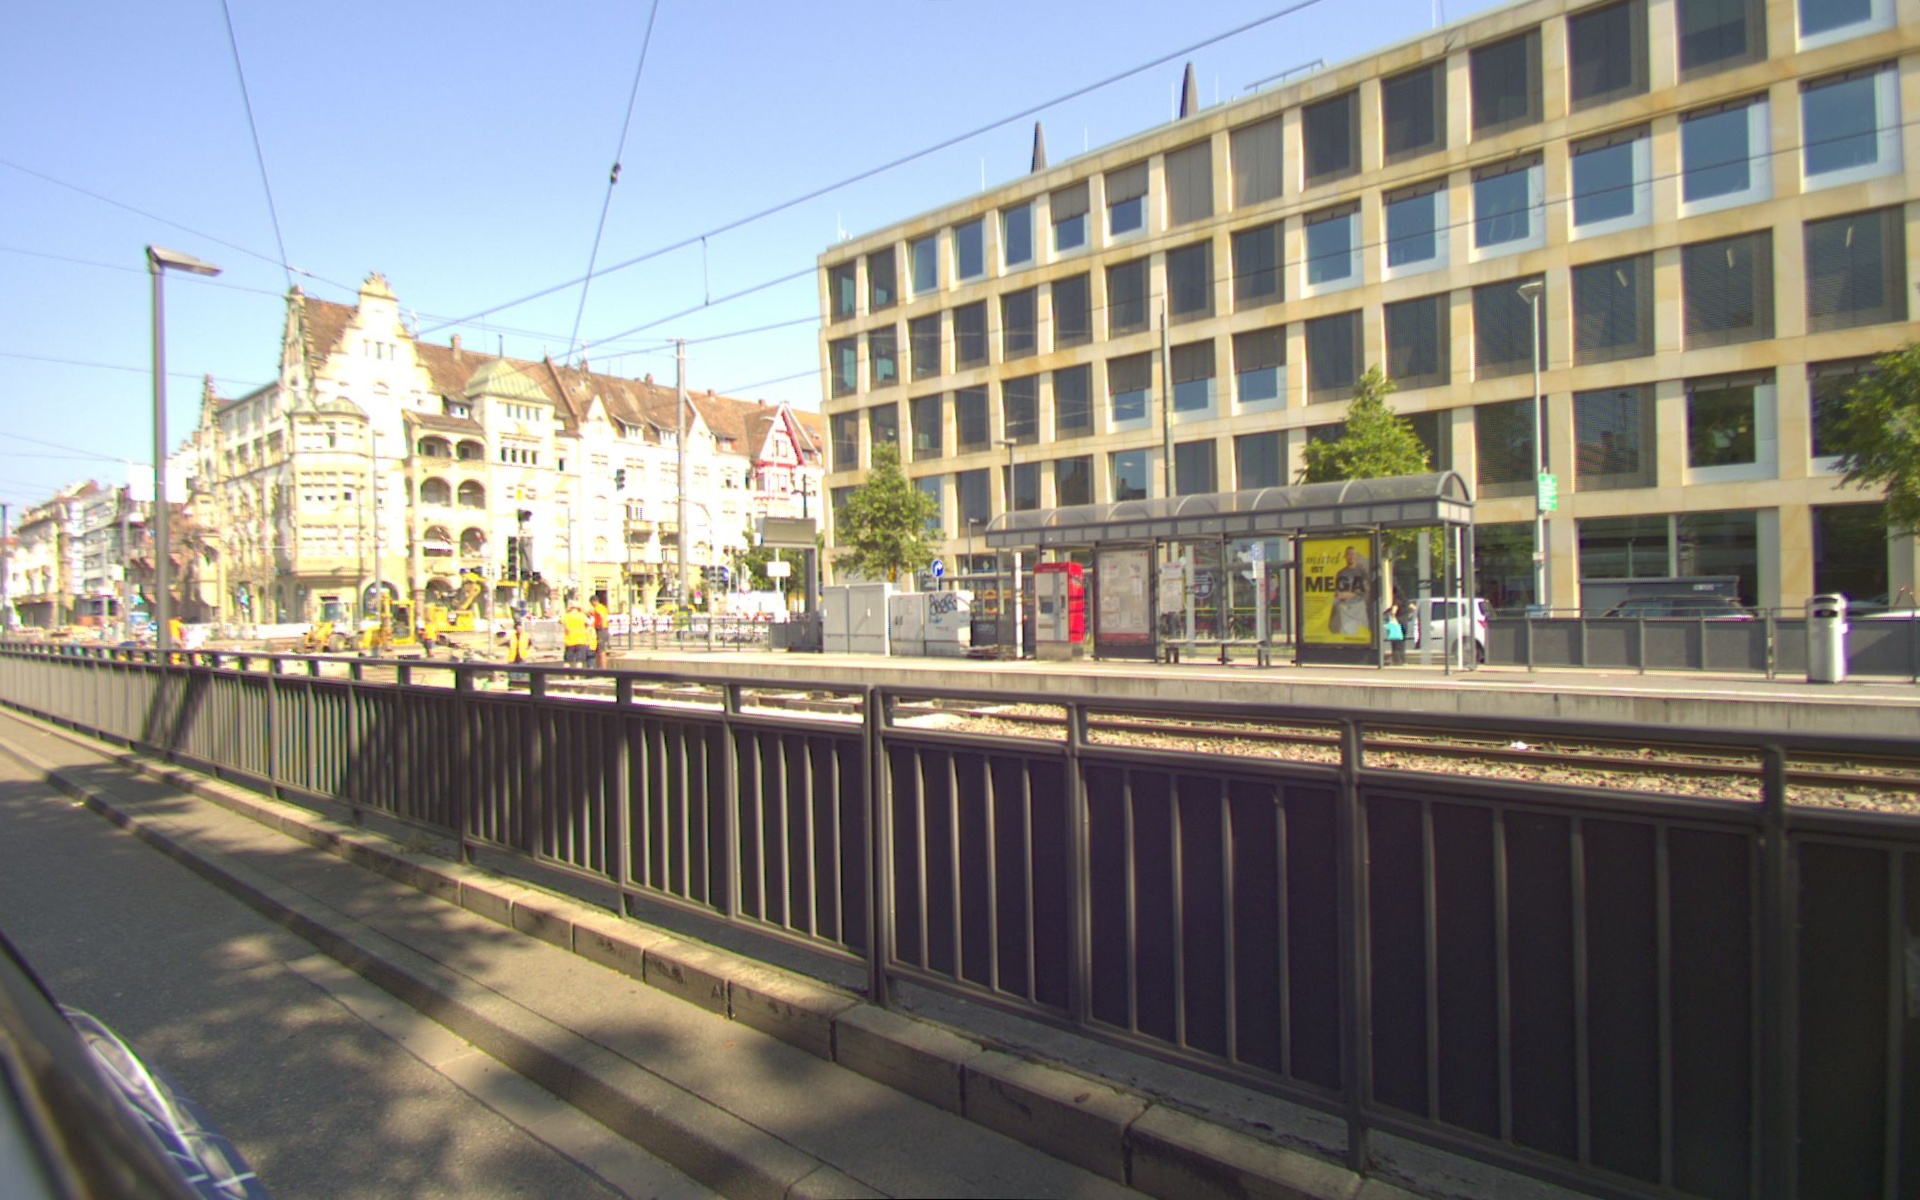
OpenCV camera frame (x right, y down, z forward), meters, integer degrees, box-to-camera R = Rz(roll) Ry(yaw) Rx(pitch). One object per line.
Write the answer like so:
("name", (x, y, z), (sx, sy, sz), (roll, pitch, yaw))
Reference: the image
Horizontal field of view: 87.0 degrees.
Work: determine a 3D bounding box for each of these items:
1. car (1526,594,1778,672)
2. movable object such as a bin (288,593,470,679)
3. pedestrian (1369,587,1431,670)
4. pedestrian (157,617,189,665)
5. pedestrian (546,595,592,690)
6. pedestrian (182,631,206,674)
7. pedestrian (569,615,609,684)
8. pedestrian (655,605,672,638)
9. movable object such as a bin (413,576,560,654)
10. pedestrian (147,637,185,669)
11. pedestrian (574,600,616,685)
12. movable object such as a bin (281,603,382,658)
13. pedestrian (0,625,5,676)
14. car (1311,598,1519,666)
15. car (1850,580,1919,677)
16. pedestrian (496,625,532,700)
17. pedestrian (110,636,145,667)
("car", (13.788, 0.651, 20.273), (3.996, 1.414, 1.883), (-2, -1, 39))
("movable object such as a bin", (-23.164, 1.287, 40.122), (8.470, 2.980, 3.577), (0, 1, 40))
("pedestrian", (9.292, 0.594, 21.365), (0.826, 1.689, 0.882), (0, -1, -38))
("pedestrian", (-26.378, 1.359, 33.920), (0.806, 1.578, 0.557), (0, -2, -41))
("pedestrian", (-8.264, 0.885, 21.392), (0.713, 1.965, 0.790), (0, -2, -35))
("pedestrian", (-28.444, 1.941, 37.579), (0.691, 1.578, 0.558), (0, -2, -36))
("pedestrian", (-8.648, 1.144, 23.585), (0.620, 1.566, 0.638), (-2, -1, 14))
("pedestrian", (-18.998, 1.384, 64.819), (0.663, 2.080, 0.895), (-1, 0, 16))
("movable object such as a bin", (-28.711, 0.821, 61.363), (7.261, 4.380, 4.981), (0, 0, -37))
("pedestrian", (-25.494, 1.710, 32.505), (0.925, 0.996, 0.510), (-2, -1, 13))
("pedestrian", (-8.022, 0.926, 22.254), (0.633, 1.829, 0.625), (-1, -1, 8))
("movable object such as a bin", (-34.342, 1.640, 55.448), (2.417, 2.856, 4.812), (-1, -1, 3))
("pedestrian", (-30.303, 1.586, 31.512), (0.690, 1.578, 0.752), (-2, -2, 39))
("car", (10.360, 0.726, 23.157), (3.996, 1.414, 1.883), (-2, -1, 39))
("car", (17.887, 0.445, 16.952), (4.313, 1.638, 1.773), (-2, -1, 38))
("pedestrian", (-10.381, 1.439, 23.570), (0.657, 1.676, 0.774), (-1, -1, -17))
("pedestrian", (-25.878, 1.602, 31.471), (0.808, 0.933, 0.513), (0, -2, -34))
